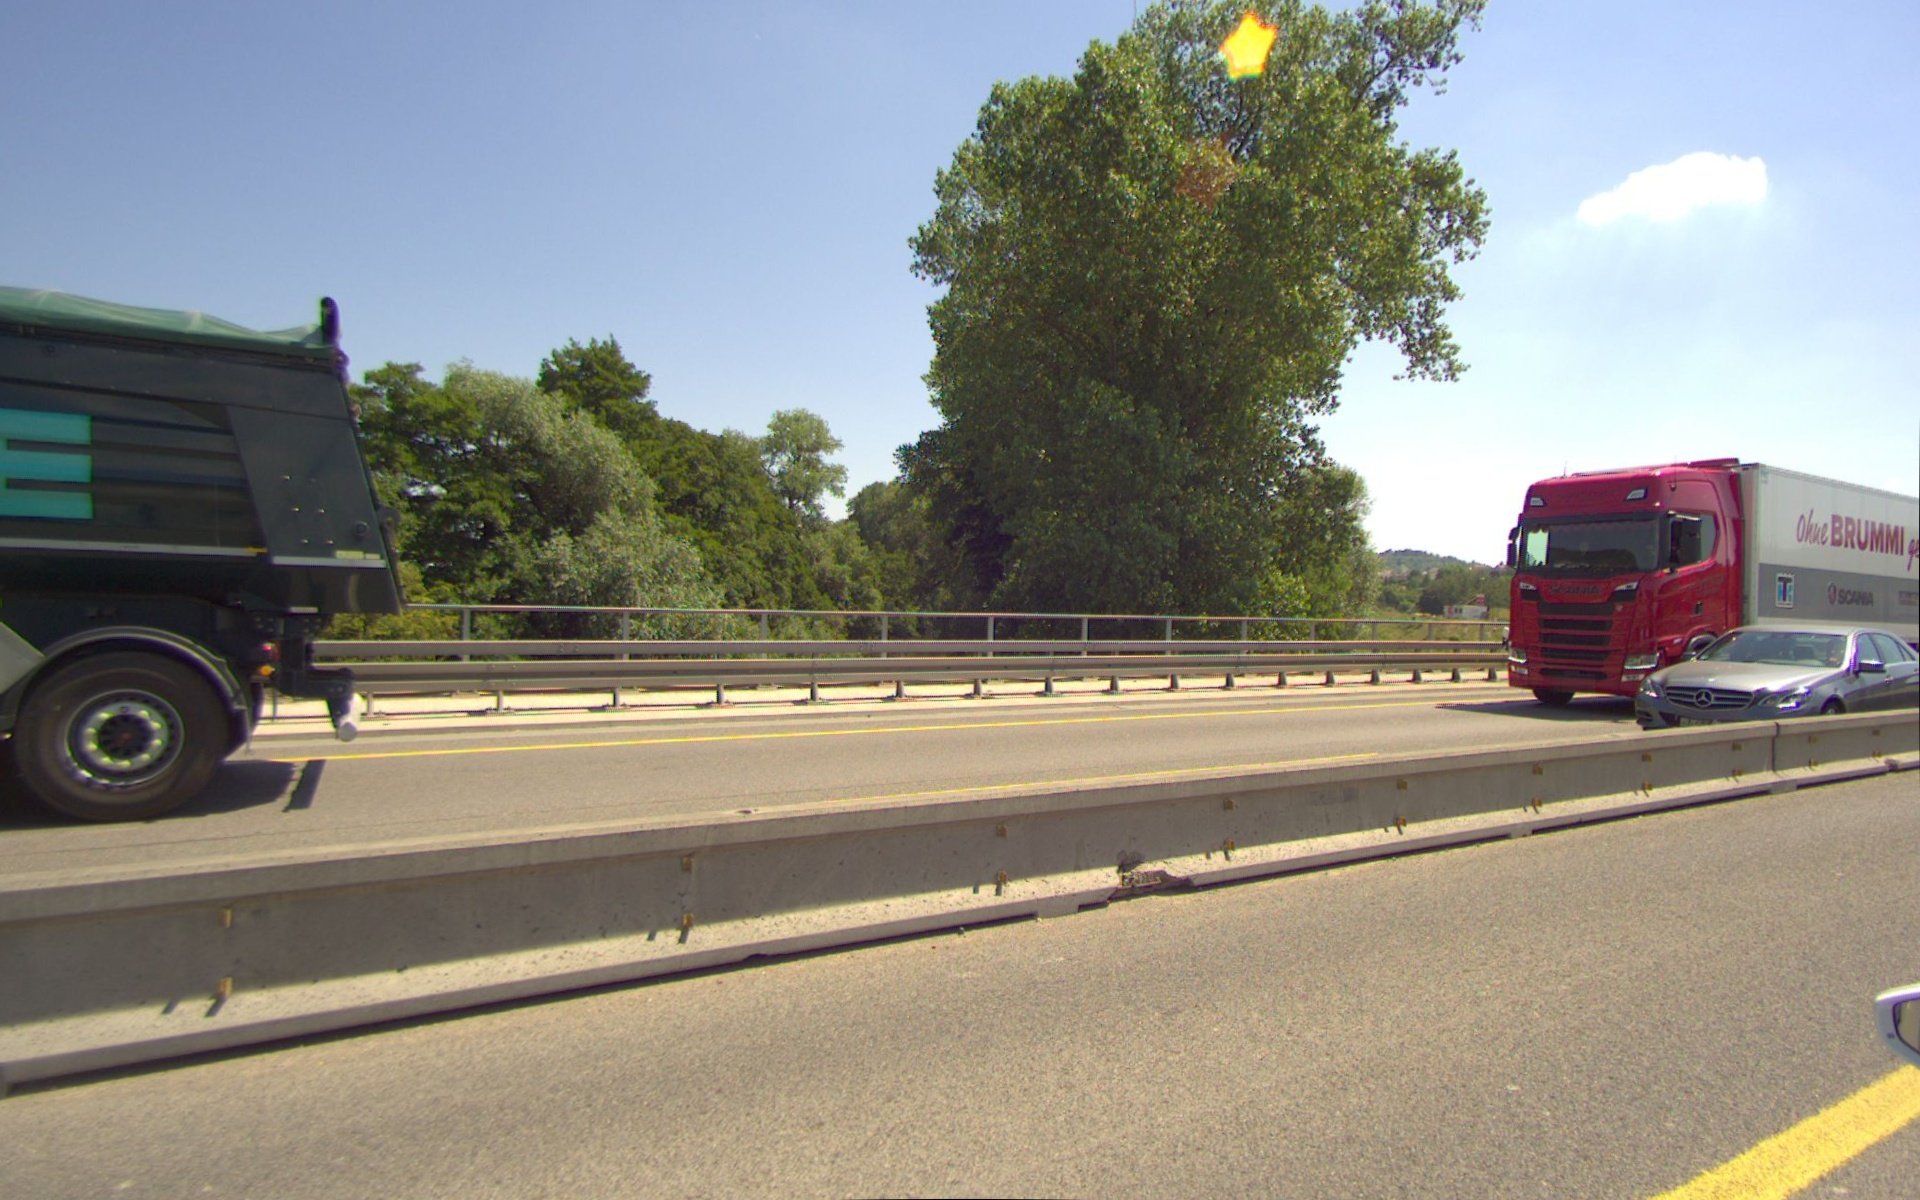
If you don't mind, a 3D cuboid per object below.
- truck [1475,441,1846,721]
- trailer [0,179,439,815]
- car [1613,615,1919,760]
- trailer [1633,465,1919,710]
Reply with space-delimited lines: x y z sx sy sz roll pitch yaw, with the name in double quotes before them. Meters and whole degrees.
"truck" 12.300 -0.257 17.535 6.444 4.091 2.803 1 0 -30
"trailer" -8.181 -0.660 5.947 8.855 3.721 2.780 2 0 -31
"car" 10.424 0.964 12.523 4.862 1.507 1.881 1 -1 -31
"trailer" 18.977 -0.165 21.447 11.657 4.232 2.793 1 0 -30
